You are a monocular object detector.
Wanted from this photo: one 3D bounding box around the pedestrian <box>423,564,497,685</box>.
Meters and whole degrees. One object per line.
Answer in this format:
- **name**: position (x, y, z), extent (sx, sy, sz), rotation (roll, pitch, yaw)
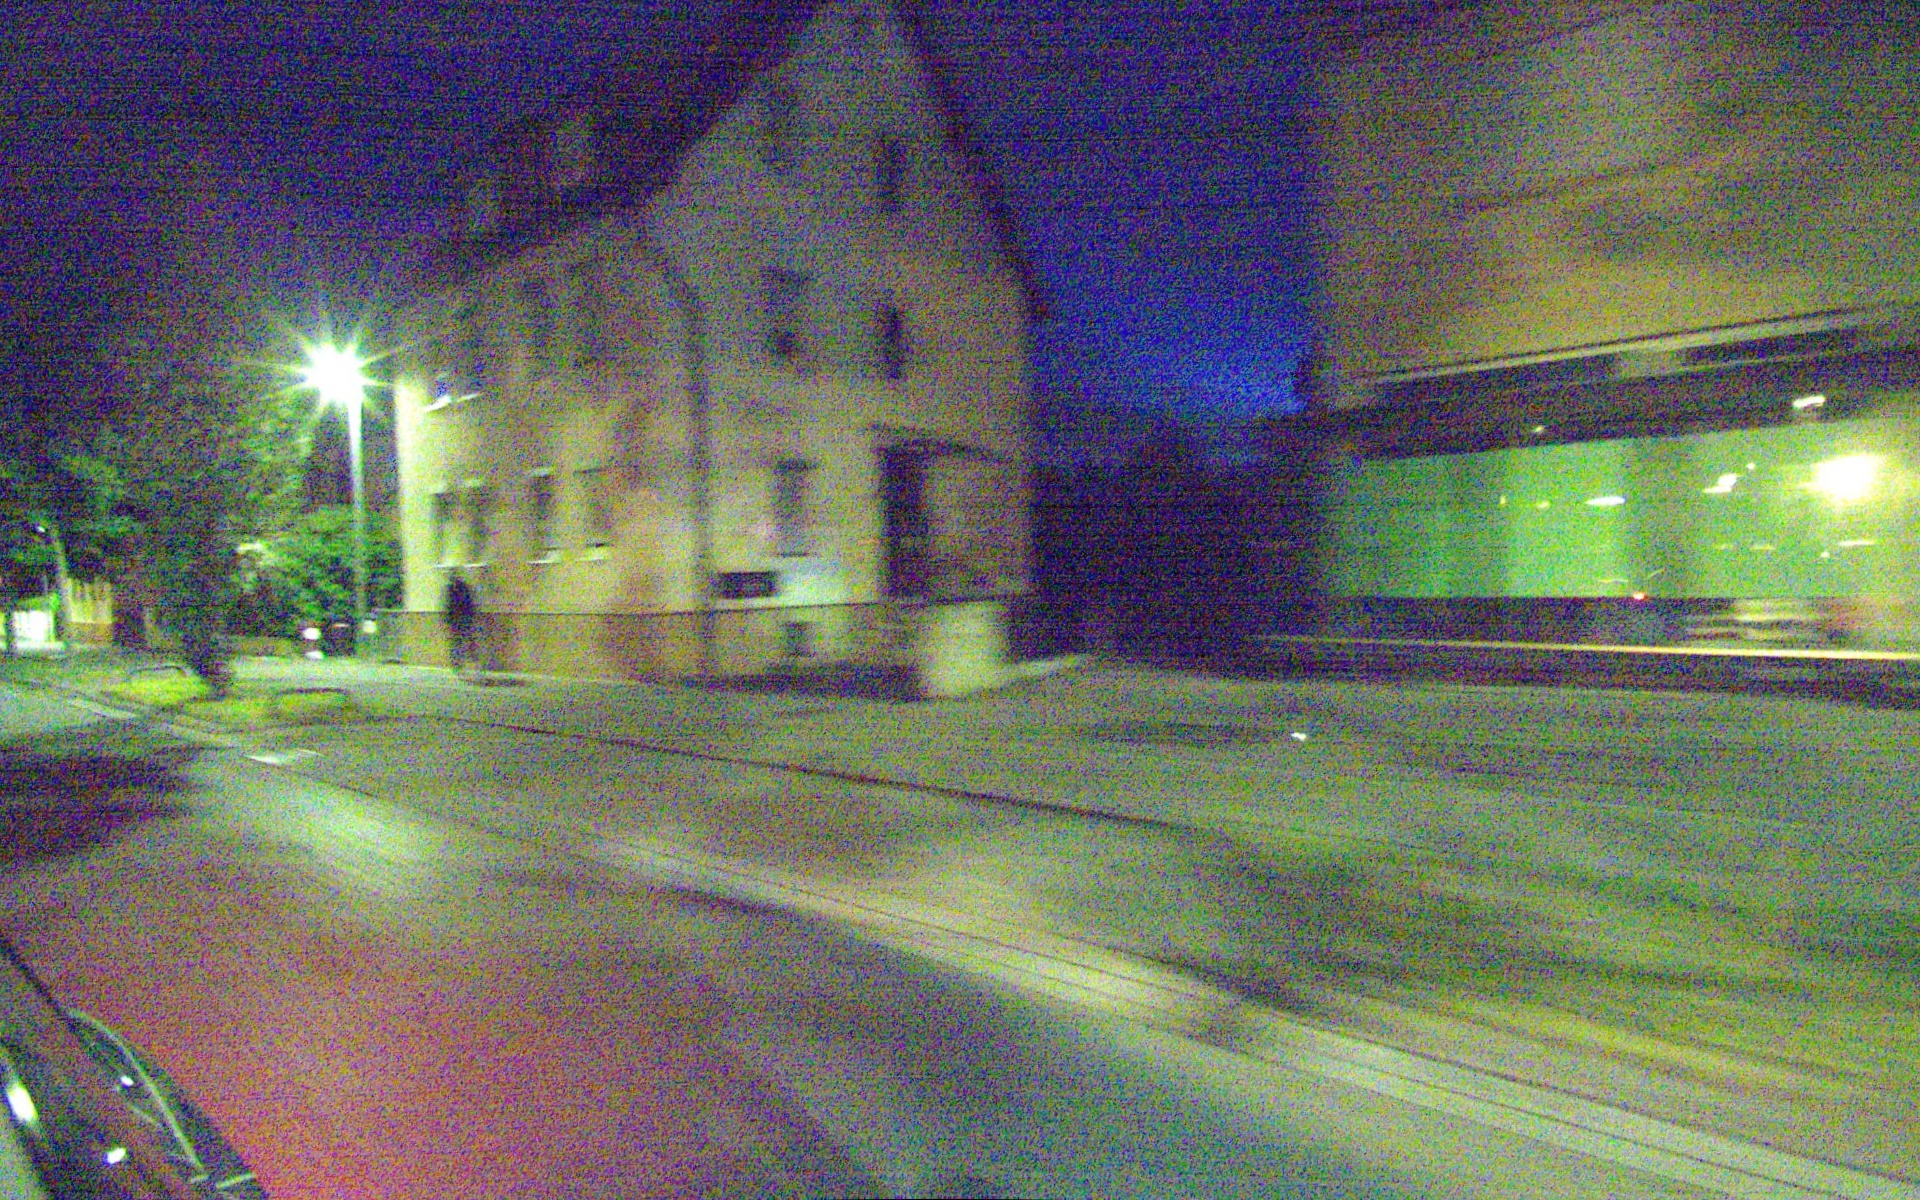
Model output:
- **pedestrian**: position (-8.307, 0.394, 16.818), extent (0.829, 1.917, 0.737), rotation (-1, 3, 41)
